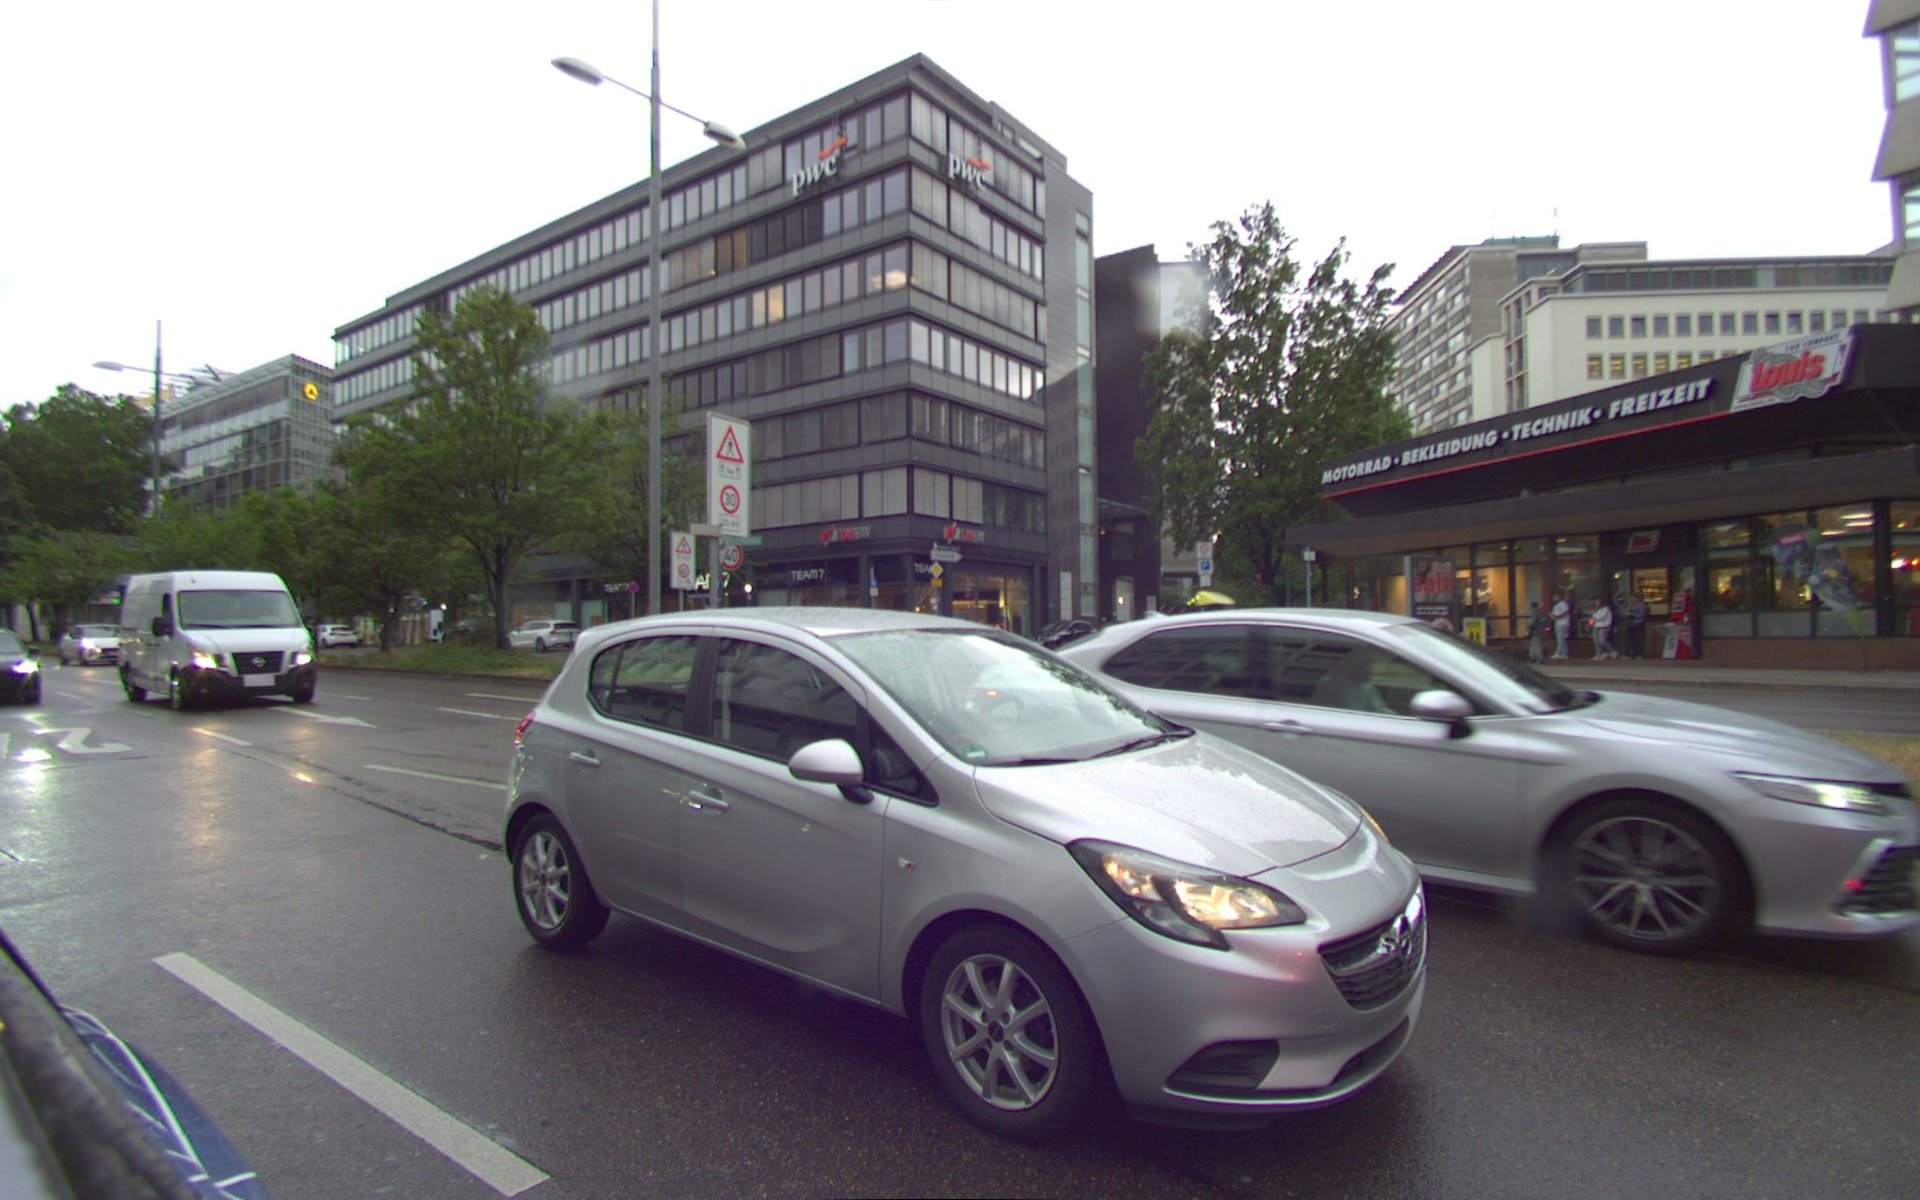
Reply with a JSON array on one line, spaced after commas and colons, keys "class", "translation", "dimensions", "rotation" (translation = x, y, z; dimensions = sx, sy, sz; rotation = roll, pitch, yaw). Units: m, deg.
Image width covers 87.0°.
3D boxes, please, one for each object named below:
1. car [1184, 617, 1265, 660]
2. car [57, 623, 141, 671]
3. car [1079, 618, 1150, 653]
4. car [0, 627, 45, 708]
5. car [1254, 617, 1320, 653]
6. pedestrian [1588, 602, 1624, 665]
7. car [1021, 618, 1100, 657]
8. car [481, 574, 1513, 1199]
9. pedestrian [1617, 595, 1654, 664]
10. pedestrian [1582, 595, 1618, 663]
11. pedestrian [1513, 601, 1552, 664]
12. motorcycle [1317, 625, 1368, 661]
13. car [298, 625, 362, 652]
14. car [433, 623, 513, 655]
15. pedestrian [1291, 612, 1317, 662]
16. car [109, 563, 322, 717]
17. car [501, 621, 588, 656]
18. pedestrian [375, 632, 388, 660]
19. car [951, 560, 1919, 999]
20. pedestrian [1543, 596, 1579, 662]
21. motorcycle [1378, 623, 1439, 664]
[{"class": "car", "translation": [10.668, 1.505, 40.642], "dimensions": [1.847, 1.596, 3.716], "rotation": [-2, -1, 37]}, {"class": "car", "translation": [-31.605, 1.698, 37.120], "dimensions": [3.492, 1.630, 1.744], "rotation": [-2, -1, 39]}, {"class": "car", "translation": [7.575, 1.715, 49.470], "dimensions": [1.847, 1.596, 3.716], "rotation": [-2, -1, 37]}, {"class": "car", "translation": [-19.123, 1.279, 19.293], "dimensions": [4.087, 1.446, 1.755], "rotation": [-2, -1, 37]}, {"class": "car", "translation": [15.565, 1.626, 48.043], "dimensions": [1.847, 1.596, 3.716], "rotation": [-2, -1, 37]}, {"class": "pedestrian", "translation": [16.609, 0.850, 26.032], "dimensions": [0.532, 1.582, 0.560], "rotation": [0, -1, -29]}, {"class": "car", "translation": [4.540, 1.659, 45.475], "dimensions": [1.847, 1.596, 3.716], "rotation": [-2, -1, 37]}, {"class": "car", "translation": [-0.174, 0.709, 3.987], "dimensions": [3.872, 1.446, 1.631], "rotation": [-2, -1, 40]}, {"class": "pedestrian", "translation": [17.446, 0.752, 26.135], "dimensions": [0.532, 1.757, 0.560], "rotation": [0, -1, -29]}, {"class": "pedestrian", "translation": [16.900, 0.759, 26.726], "dimensions": [0.532, 1.757, 0.560], "rotation": [0, -1, -29]}, {"class": "pedestrian", "translation": [15.051, 0.850, 26.607], "dimensions": [0.605, 1.623, 0.614], "rotation": [0, -1, -29]}, {"class": "motorcycle", "translation": [12.965, 1.456, 34.283], "dimensions": [1.600, 1.153, 0.360], "rotation": [-1, -1, -8]}, {"class": "car", "translation": [-37.943, 2.291, 60.914], "dimensions": [3.992, 1.518, 1.975], "rotation": [-2, -1, 36]}, {"class": "car", "translation": [-24.598, 1.969, 51.103], "dimensions": [4.100, 1.518, 1.975], "rotation": [-2, -1, 36]}, {"class": "pedestrian", "translation": [11.786, 1.266, 34.707], "dimensions": [0.726, 1.661, 0.698], "rotation": [-1, -1, 11]}, {"class": "car", "translation": [-13.789, 0.694, 18.592], "dimensions": [5.475, 2.459, 1.927], "rotation": [-2, -1, 40]}, {"class": "car", "translation": [-19.409, 1.787, 47.253], "dimensions": [3.992, 1.518, 1.975], "rotation": [-2, -1, 36]}, {"class": "pedestrian", "translation": [-41.408, 3.293, 72.416], "dimensions": [0.500, 2.029, 0.681], "rotation": [-2, -1, 38]}, {"class": "car", "translation": [2.375, 0.674, 5.580], "dimensions": [4.772, 1.545, 1.847], "rotation": [-2, -1, 39]}, {"class": "pedestrian", "translation": [16.112, 0.769, 27.139], "dimensions": [0.605, 1.757, 0.560], "rotation": [0, -1, -29]}, {"class": "motorcycle", "translation": [13.834, 1.344, 31.229], "dimensions": [1.646, 1.242, 0.360], "rotation": [-1, -1, 2]}]
